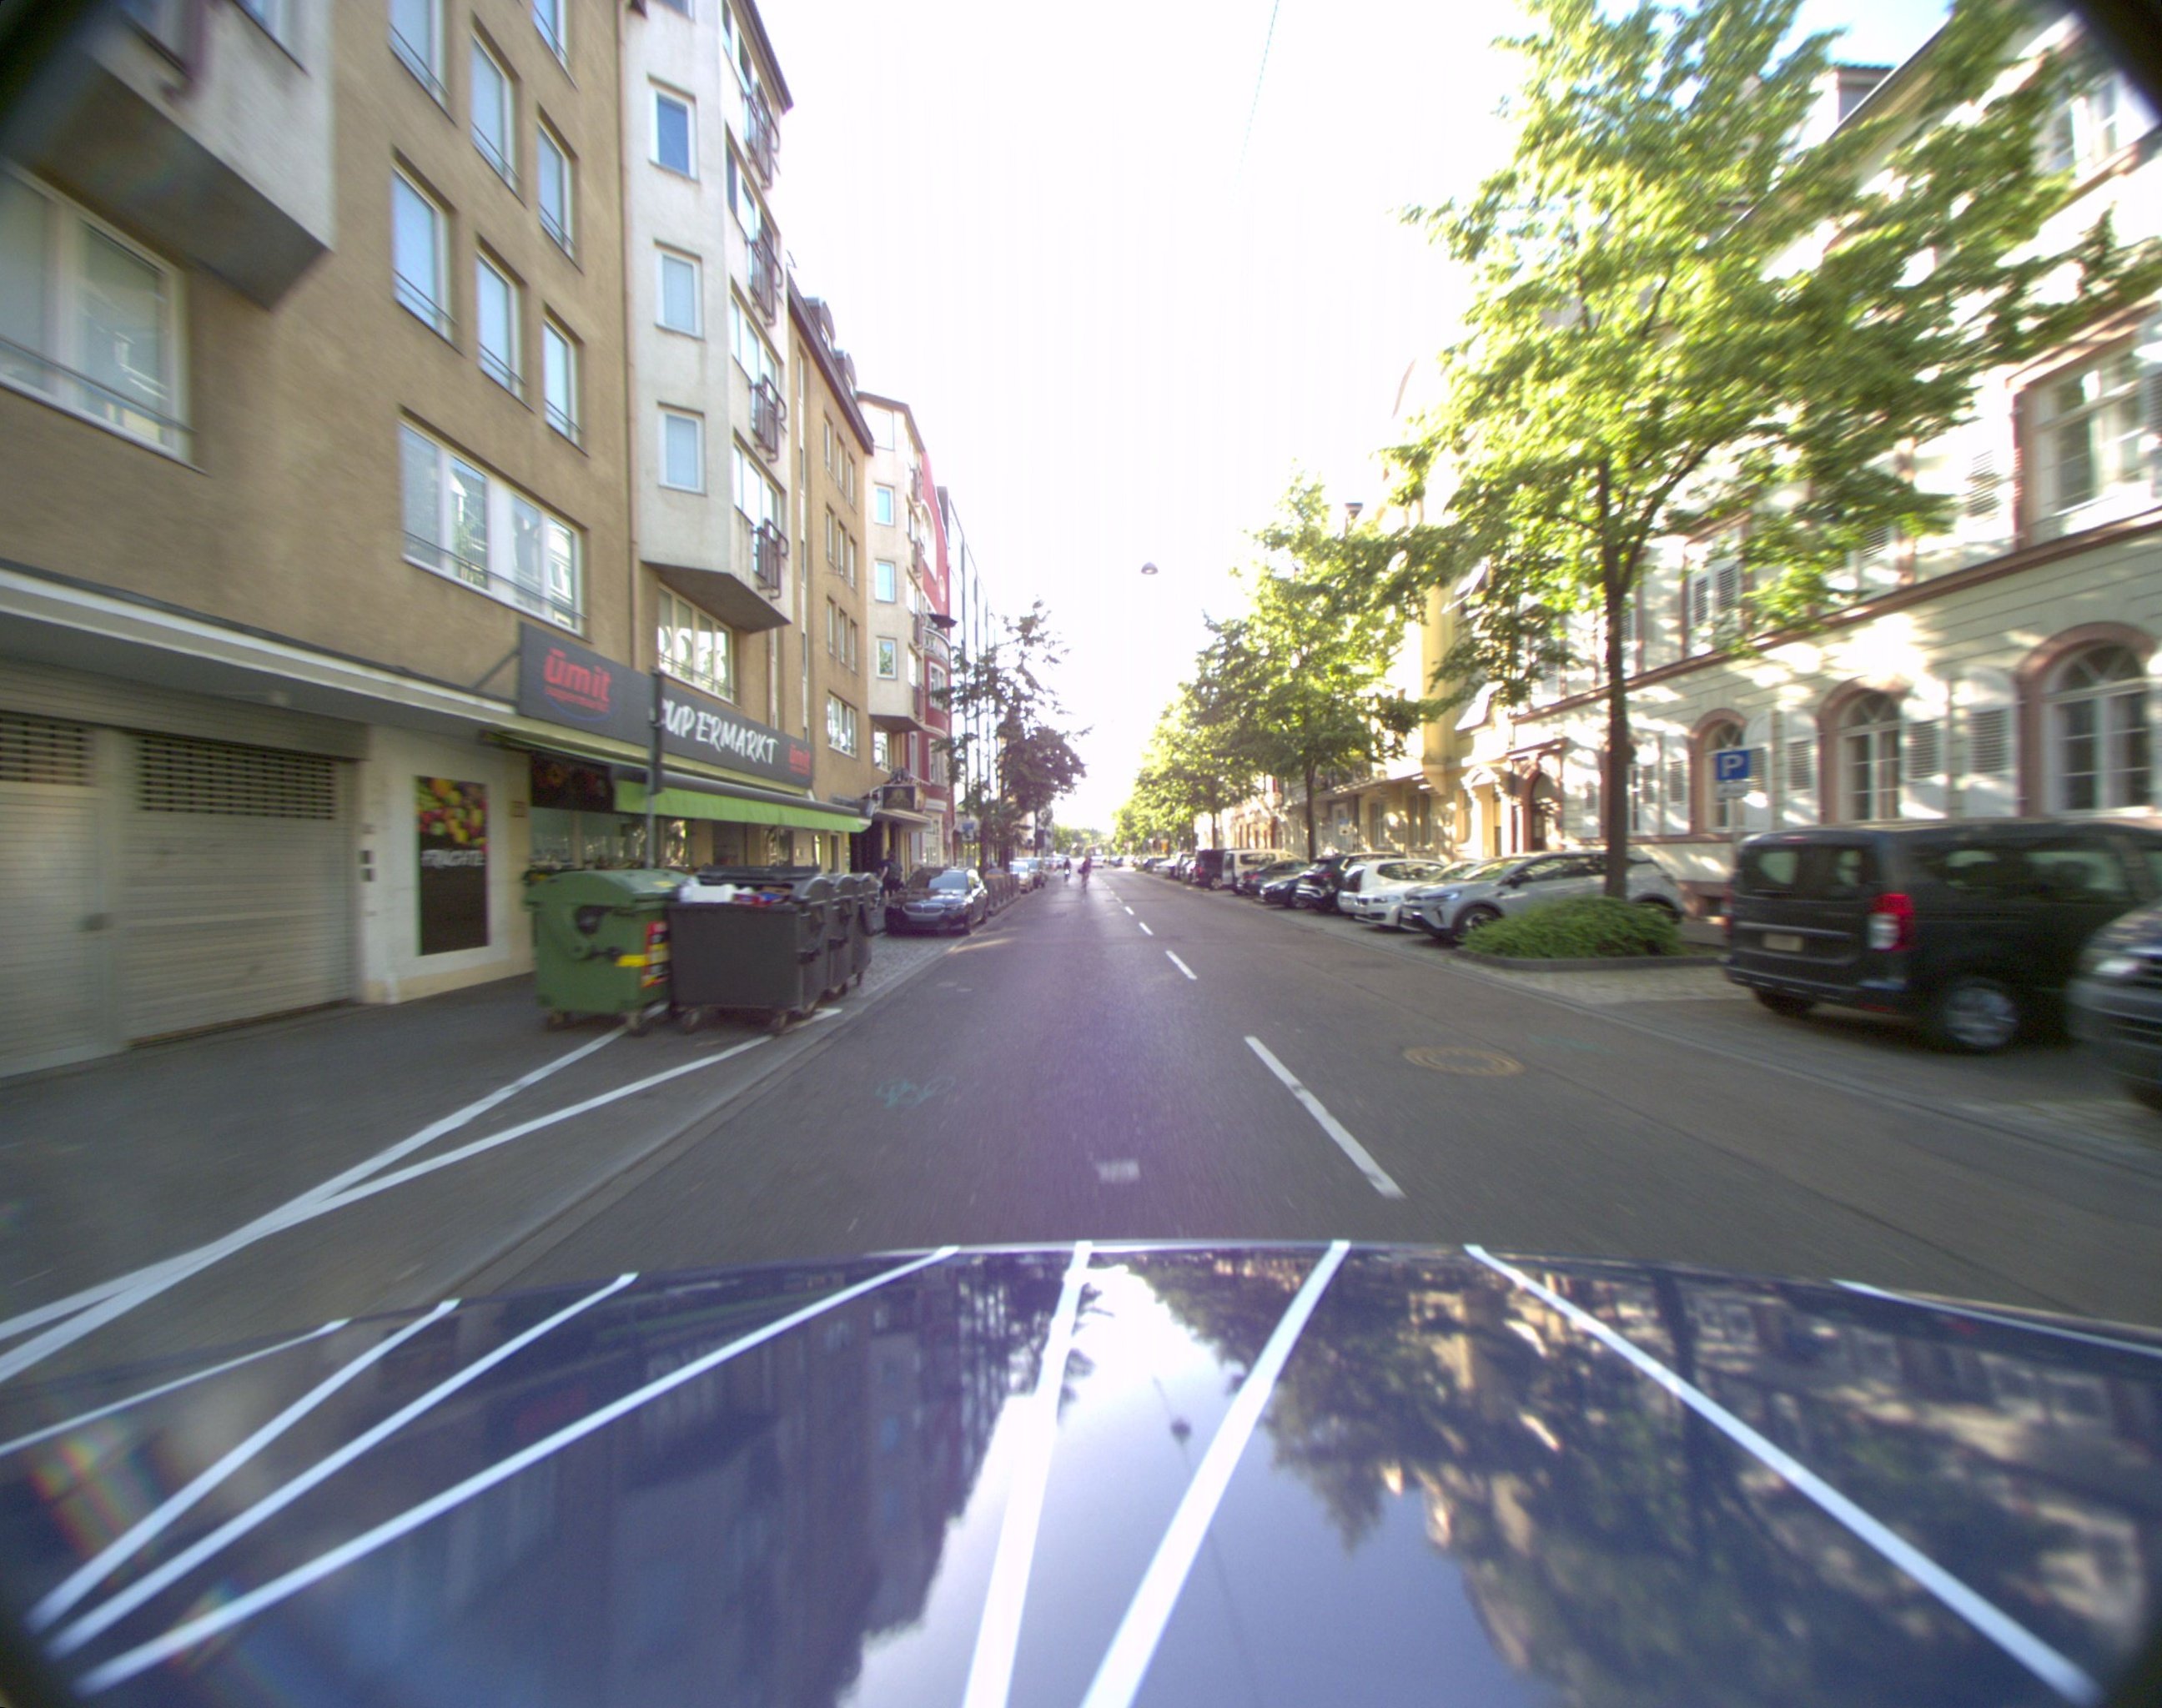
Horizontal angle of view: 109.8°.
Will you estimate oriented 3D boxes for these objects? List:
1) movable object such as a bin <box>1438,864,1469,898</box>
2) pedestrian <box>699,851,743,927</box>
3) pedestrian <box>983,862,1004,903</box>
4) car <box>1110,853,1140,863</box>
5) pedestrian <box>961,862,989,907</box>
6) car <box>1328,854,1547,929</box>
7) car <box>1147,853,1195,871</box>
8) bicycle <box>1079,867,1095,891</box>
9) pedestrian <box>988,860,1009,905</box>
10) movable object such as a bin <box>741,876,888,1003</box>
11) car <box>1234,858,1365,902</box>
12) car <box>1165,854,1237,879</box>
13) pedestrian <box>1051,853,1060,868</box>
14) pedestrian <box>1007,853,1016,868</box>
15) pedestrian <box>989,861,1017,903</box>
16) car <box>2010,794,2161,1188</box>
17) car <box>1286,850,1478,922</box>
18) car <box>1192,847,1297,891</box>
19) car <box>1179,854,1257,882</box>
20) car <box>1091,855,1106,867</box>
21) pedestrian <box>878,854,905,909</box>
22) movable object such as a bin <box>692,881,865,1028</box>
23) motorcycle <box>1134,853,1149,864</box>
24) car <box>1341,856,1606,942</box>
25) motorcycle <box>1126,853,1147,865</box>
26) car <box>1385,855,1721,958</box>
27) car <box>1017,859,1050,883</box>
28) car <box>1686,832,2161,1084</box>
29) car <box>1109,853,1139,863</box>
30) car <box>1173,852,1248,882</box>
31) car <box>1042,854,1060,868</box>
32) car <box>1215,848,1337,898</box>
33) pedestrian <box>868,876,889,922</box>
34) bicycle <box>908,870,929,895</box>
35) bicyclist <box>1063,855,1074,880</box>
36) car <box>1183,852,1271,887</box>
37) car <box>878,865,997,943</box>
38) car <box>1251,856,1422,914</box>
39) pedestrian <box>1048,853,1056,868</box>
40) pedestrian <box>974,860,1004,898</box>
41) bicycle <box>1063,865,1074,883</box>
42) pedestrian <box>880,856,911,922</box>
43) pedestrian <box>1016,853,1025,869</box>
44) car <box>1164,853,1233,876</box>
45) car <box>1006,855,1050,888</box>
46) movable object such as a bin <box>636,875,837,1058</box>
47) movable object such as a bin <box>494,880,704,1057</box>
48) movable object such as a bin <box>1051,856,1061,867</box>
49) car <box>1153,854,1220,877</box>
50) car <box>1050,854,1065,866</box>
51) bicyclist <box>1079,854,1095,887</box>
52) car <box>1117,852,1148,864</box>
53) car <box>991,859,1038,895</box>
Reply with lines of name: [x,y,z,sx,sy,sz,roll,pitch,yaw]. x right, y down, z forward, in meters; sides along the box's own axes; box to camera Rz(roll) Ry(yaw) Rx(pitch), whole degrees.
movable object such as a bin: [12.007,0.864,24.502,0.643,1.070,0.684,-1,1,1]
pedestrian: [-7.934,0.744,16.751,0.760,1.632,0.620,0,1,42]
pedestrian: [-3.351,1.074,29.181,0.694,1.527,0.776,0,1,1]
car: [6.513,0.621,112.007,4.006,1.433,1.995,-2,0,-31]
pedestrian: [-3.739,1.065,26.795,0.712,1.527,0.770,0,1,15]
car: [8.349,0.845,18.064,4.350,1.572,1.809,-1,0,0]
car: [8.367,0.704,70.982,4.349,1.535,1.945,-1,0,2]
bicycle: [0.277,1.198,37.310,0.718,1.105,2.269,-1,0,-1]
pedestrian: [-2.890,1.000,26.760,0.652,1.527,0.980,-1,1,-1]
movable object such as a bin: [-3.258,1.014,9.452,1.402,1.445,1.146,-1,0,0]
car: [7.939,0.943,27.998,4.348,1.430,1.917,-1,0,6]
car: [8.092,0.850,51.191,4.354,1.535,1.962,-2,0,-11]
pedestrian: [-2.953,0.736,88.094,0.693,1.709,0.896,2,1,25]
pedestrian: [-7.913,0.761,86.510,0.618,1.683,0.717,-1,1,27]
pedestrian: [-2.878,1.028,28.060,0.750,1.527,0.808,0,1,15]
car: [7.635,0.617,3.317,4.691,1.938,1.917,-1,0,2]
car: [7.962,0.797,20.284,4.354,1.699,1.915,-2,0,-9]
car: [7.685,0.702,35.979,4.584,1.915,1.930,-1,0,3]
car: [8.317,0.836,46.333,4.351,1.535,1.916,-2,0,-3]
car: [2.474,0.974,106.360,1.915,1.536,4.353,-2,1,3]
pedestrian: [-5.848,0.834,23.392,0.631,1.686,0.502,-1,1,-39]
movable object such as a bin: [-3.237,1.046,8.289,1.402,1.445,1.146,-1,0,0]
motorcycle: [7.589,0.555,95.145,1.750,1.415,0.831,-1,1,27]
car: [7.937,0.874,15.685,4.477,1.532,1.916,-1,0,0]
motorcycle: [6.925,0.613,94.336,2.316,1.415,1.002,-1,1,27]
car: [7.815,0.852,12.977,4.475,1.532,1.917,-1,0,5]
car: [-3.086,1.093,50.231,1.826,1.394,4.842,2,0,1]
car: [8.136,0.734,6.405,4.477,1.761,1.917,-1,0,2]
car: [6.558,0.625,115.155,4.005,1.465,1.996,-2,0,-26]
car: [8.241,0.805,48.663,4.352,1.813,1.929,-2,0,-4]
car: [-3.595,0.820,92.289,1.978,1.565,4.126,1,0,0]
car: [7.872,0.744,30.867,4.354,1.823,1.915,-2,0,-9]
pedestrian: [-5.199,1.141,19.510,0.444,1.156,0.500,-1,1,-9]
bicycle: [-6.788,1.182,31.765,0.475,0.996,1.701,0,0,0]
bicyclist: [-0.786,0.835,47.463,0.658,1.562,0.909,-1,1,0]
car: [7.843,0.827,41.167,4.351,1.723,1.916,-1,0,-2]
car: [-3.216,1.057,18.012,1.826,1.463,4.911,2,0,0]
car: [7.530,0.890,22.721,4.476,1.532,1.917,-1,0,2]
pedestrian: [-3.339,0.736,88.678,0.699,1.709,0.693,1,1,-23]
pedestrian: [-3.747,1.017,31.027,1.058,1.527,0.892,0,1,4]
bicycle: [-0.774,1.237,47.423,0.666,1.061,1.836,-1,0,0]
pedestrian: [-4.837,0.890,19.863,0.618,1.686,0.762,-1,1,-2]
pedestrian: [-6.830,0.789,85.752,0.617,1.682,0.677,2,3,44]
car: [8.617,0.757,55.874,4.711,1.483,2.000,-2,0,1]
car: [-2.982,0.947,43.799,1.826,1.767,4.932,2,0,4]
movable object such as a bin: [-3.155,0.989,7.124,1.334,1.533,1.146,-1,0,0]
movable object such as a bin: [-4.337,0.978,6.983,1.080,1.423,1.295,-1,0,0]
movable object such as a bin: [-3.359,0.950,102.672,1.147,1.413,1.411,2,1,4]
car: [8.061,0.832,58.224,4.713,1.484,1.999,-2,2,-4]
car: [-3.328,0.843,109.301,1.998,1.565,4.000,1,0,0]
bicyclist: [0.272,0.799,37.024,0.718,1.553,0.864,-1,1,-1]
car: [7.411,0.551,109.788,4.006,1.553,1.995,-2,0,-31]
car: [-3.214,1.057,37.437,1.826,1.587,4.841,2,0,0]
